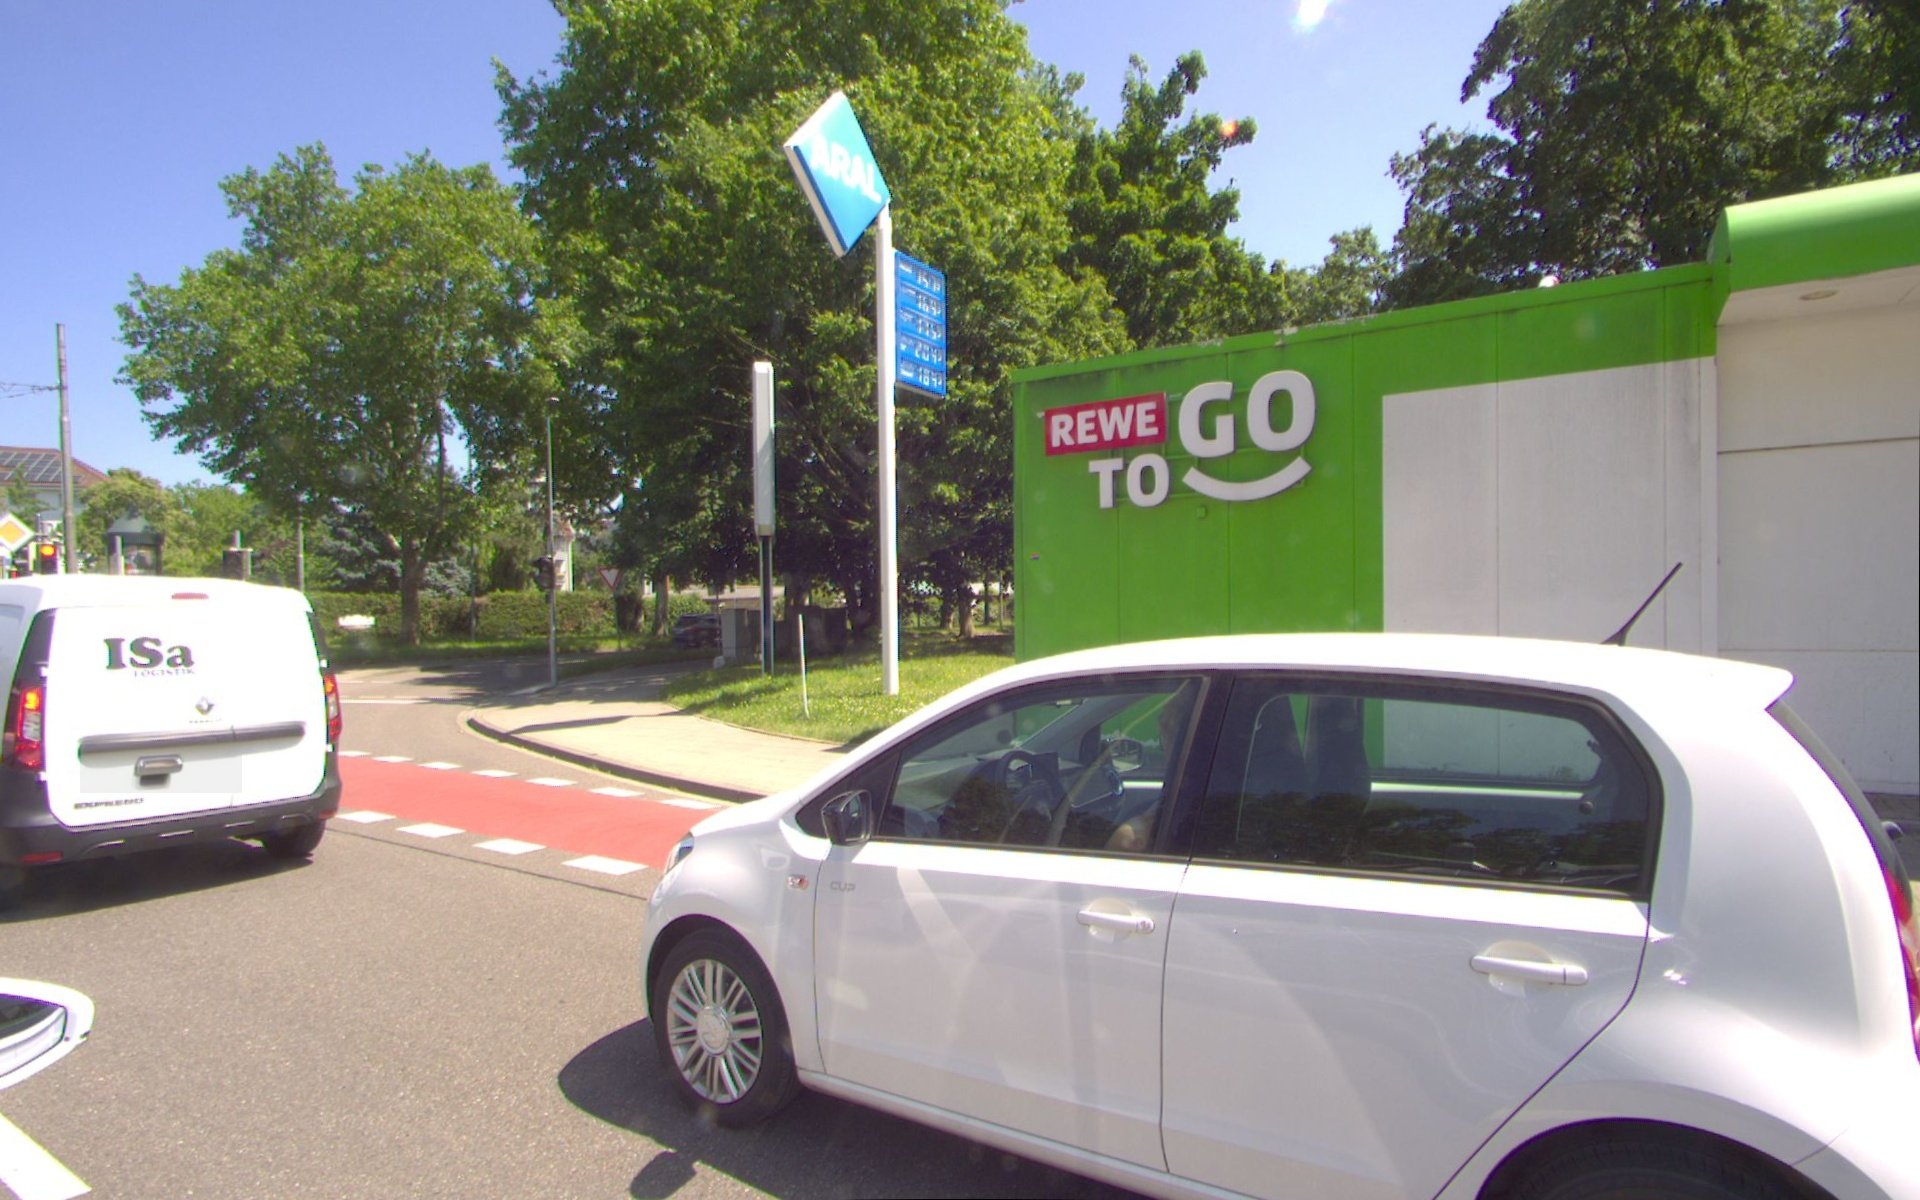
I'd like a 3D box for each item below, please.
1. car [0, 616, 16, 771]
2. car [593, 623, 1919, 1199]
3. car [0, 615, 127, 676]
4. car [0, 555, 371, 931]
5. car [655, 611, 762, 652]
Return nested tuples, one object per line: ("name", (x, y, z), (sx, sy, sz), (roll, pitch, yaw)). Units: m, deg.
("car", (-11.915, 0.942, 10.635), (3.943, 1.589, 1.832), (0, -1, 32))
("car", (0.661, 0.820, 3.010), (3.387, 1.466, 1.606), (0, -1, 33))
("car", (-24.615, 1.184, 26.291), (3.943, 1.539, 1.743), (0, -1, -31))
("car", (-5.871, 0.746, 6.627), (4.005, 1.811, 1.725), (-1, -2, 31))
("car", (-10.214, 1.279, 40.868), (3.963, 1.617, 1.682), (2, -1, -45))
